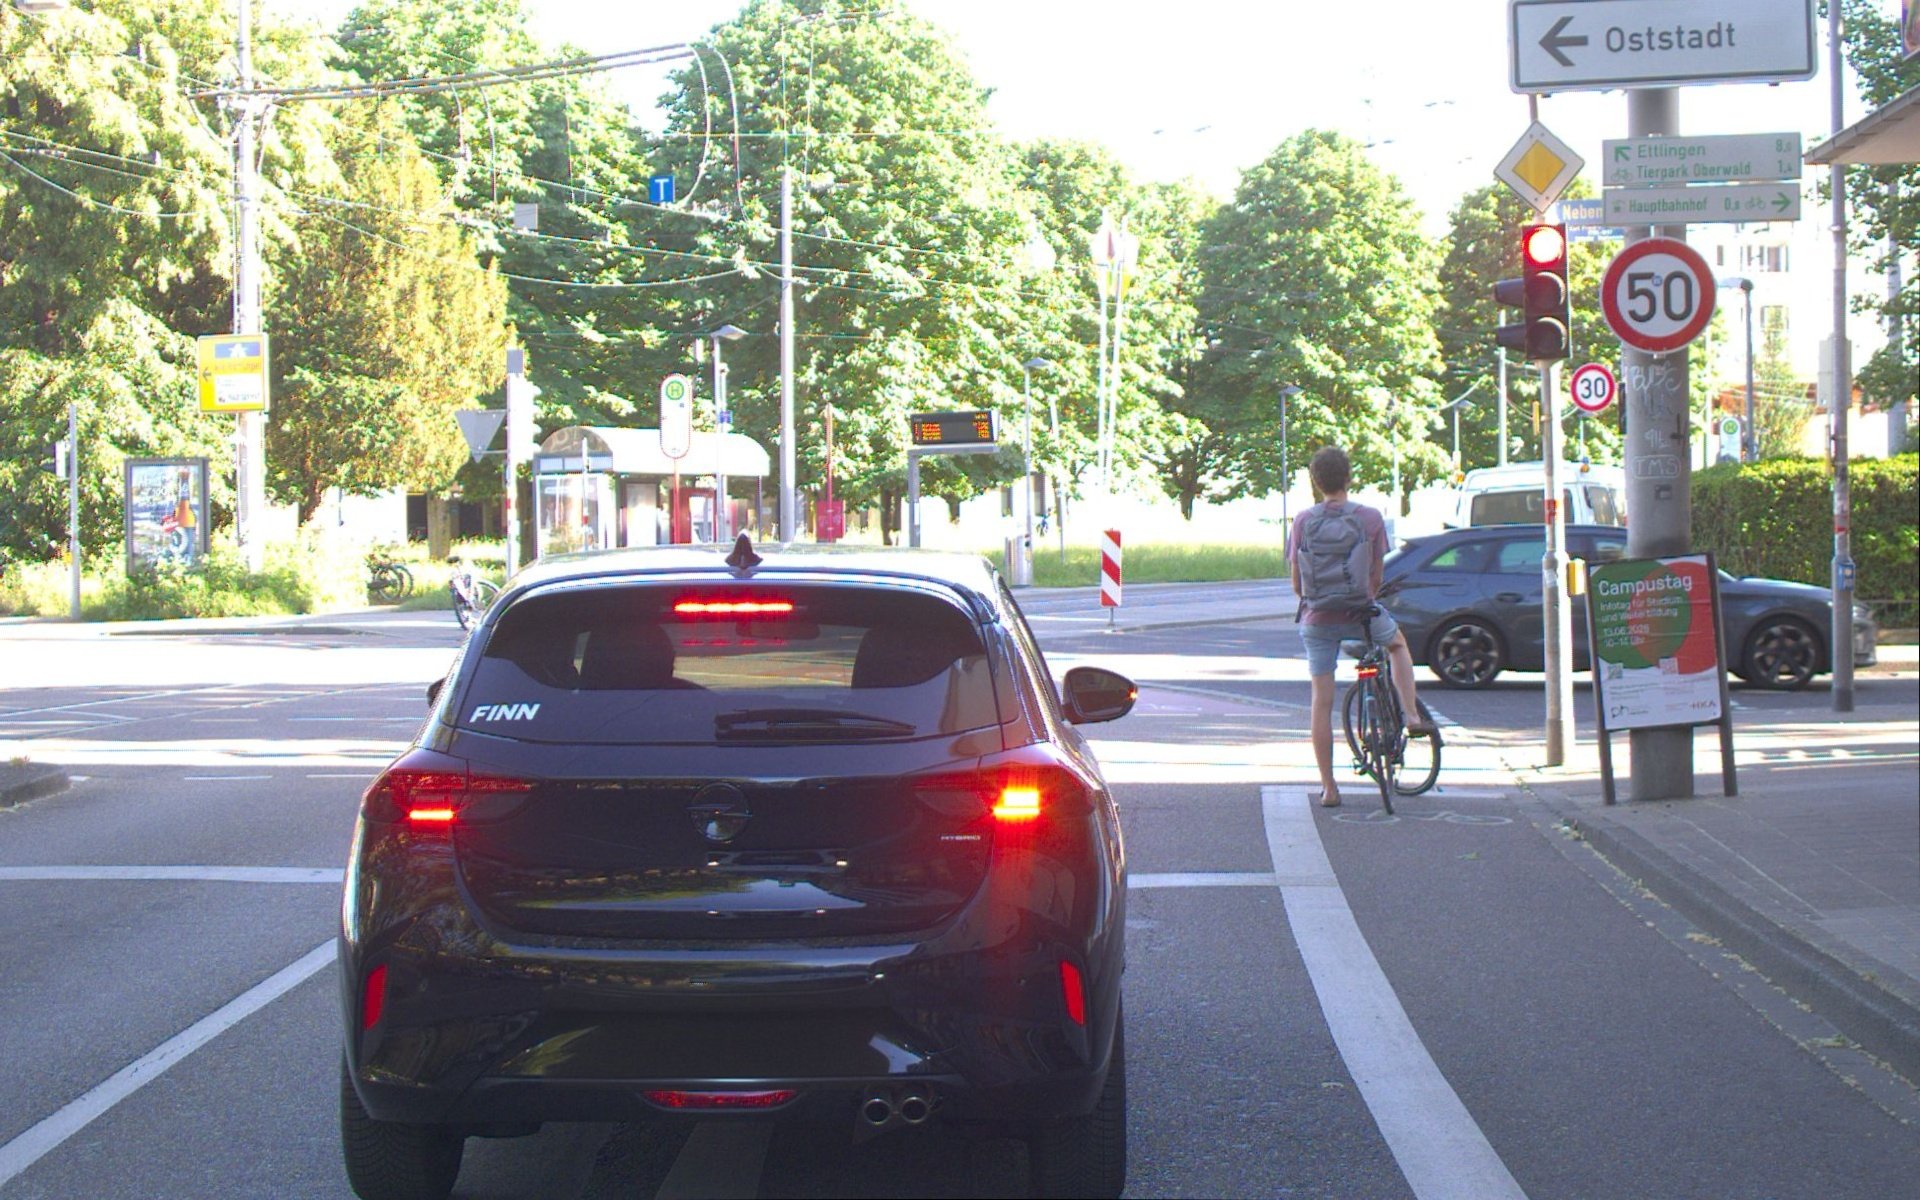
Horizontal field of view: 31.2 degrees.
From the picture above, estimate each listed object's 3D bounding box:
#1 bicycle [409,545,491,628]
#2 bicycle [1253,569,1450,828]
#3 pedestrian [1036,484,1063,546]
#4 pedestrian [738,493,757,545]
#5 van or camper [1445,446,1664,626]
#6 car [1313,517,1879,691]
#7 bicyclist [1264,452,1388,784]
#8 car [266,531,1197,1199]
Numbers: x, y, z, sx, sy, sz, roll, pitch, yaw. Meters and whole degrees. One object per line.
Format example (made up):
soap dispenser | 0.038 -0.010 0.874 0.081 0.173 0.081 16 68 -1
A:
bicycle | -6.838 -0.200 46.177 0.796 1.061 2.185 0 1 -1
bicycle | 2.061 0.472 17.863 0.753 1.231 2.014 0 1 14
pedestrian | 2.702 -2.564 103.936 0.604 1.865 0.519 1 0 -36
pedestrian | -7.583 -2.889 122.627 0.603 1.865 0.519 1 0 -6
van or camper | 8.079 -0.840 46.401 2.031 2.302 4.535 1 1 21
car | 5.487 0.007 30.192 4.727 1.468 1.939 0 1 5
bicyclist | 1.898 0.086 17.780 0.534 1.686 0.567 0 1 17
car | -0.474 0.565 8.806 1.840 1.457 3.984 0 1 -1
